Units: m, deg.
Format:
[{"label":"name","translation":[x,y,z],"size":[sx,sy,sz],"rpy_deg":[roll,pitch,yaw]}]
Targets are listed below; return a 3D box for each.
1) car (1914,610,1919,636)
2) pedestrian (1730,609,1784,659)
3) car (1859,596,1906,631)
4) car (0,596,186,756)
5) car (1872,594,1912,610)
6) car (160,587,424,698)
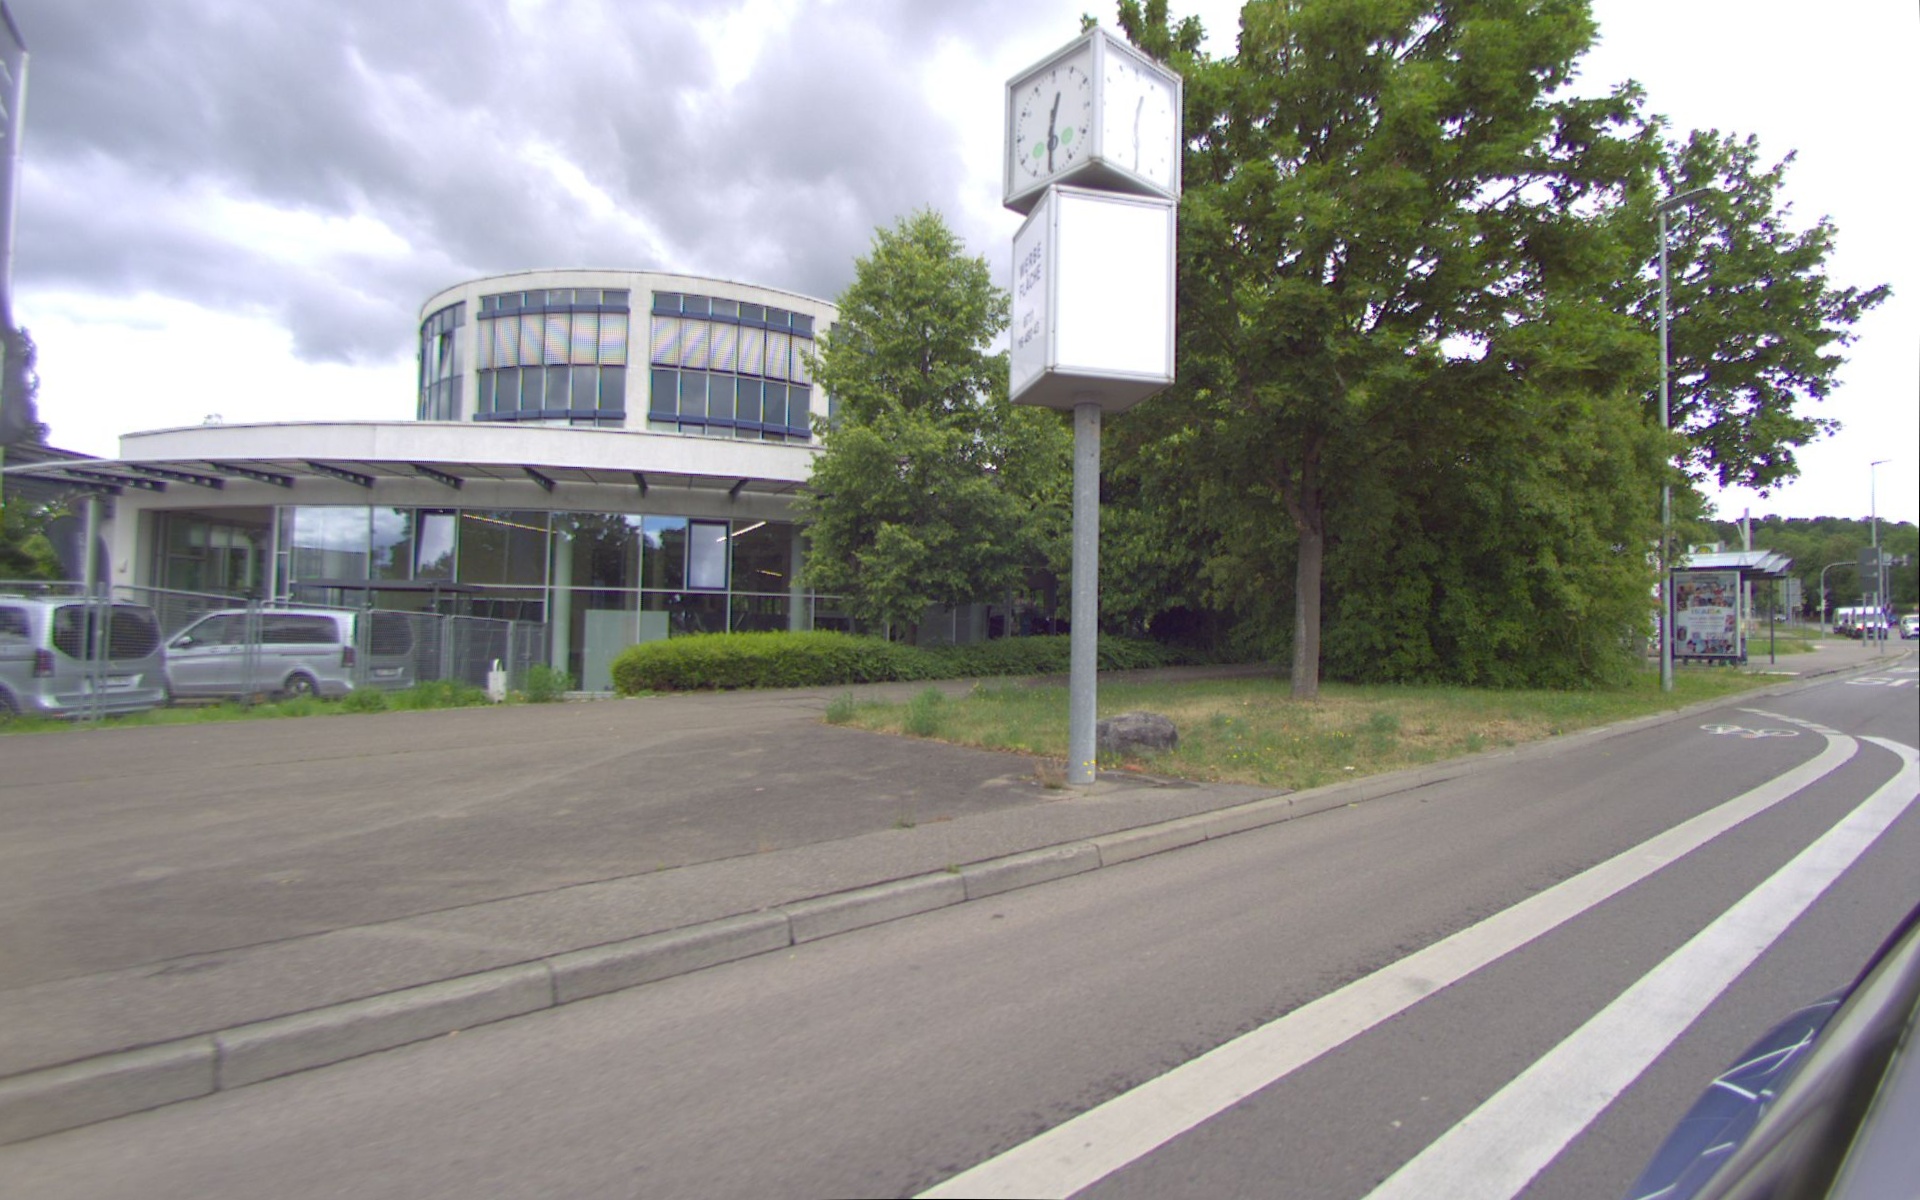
[{"label":"car","translation":[77.610,1.781,80.717],"size":[2.113,2.017,4.908],"rpy_deg":[-4,-4,44]},{"label":"pedestrian","translation":[20.458,0.871,25.992],"size":[0.763,1.269,0.771],"rpy_deg":[0,-2,7]},{"label":"car","translation":[75.345,1.124,82.761],"size":[2.215,2.693,5.879],"rpy_deg":[-3,-3,37]},{"label":"car","translation":[-13.515,0.980,14.302],"size":[3.936,2.051,1.994],"rpy_deg":[0,-1,11]},{"label":"car","translation":[128.033,0.359,139.071],"size":[2.278,2.040,4.786],"rpy_deg":[-1,-2,20]},{"label":"car","translation":[-12.643,0.762,19.281],"size":[3.936,1.981,1.994],"rpy_deg":[0,-1,11]}]
